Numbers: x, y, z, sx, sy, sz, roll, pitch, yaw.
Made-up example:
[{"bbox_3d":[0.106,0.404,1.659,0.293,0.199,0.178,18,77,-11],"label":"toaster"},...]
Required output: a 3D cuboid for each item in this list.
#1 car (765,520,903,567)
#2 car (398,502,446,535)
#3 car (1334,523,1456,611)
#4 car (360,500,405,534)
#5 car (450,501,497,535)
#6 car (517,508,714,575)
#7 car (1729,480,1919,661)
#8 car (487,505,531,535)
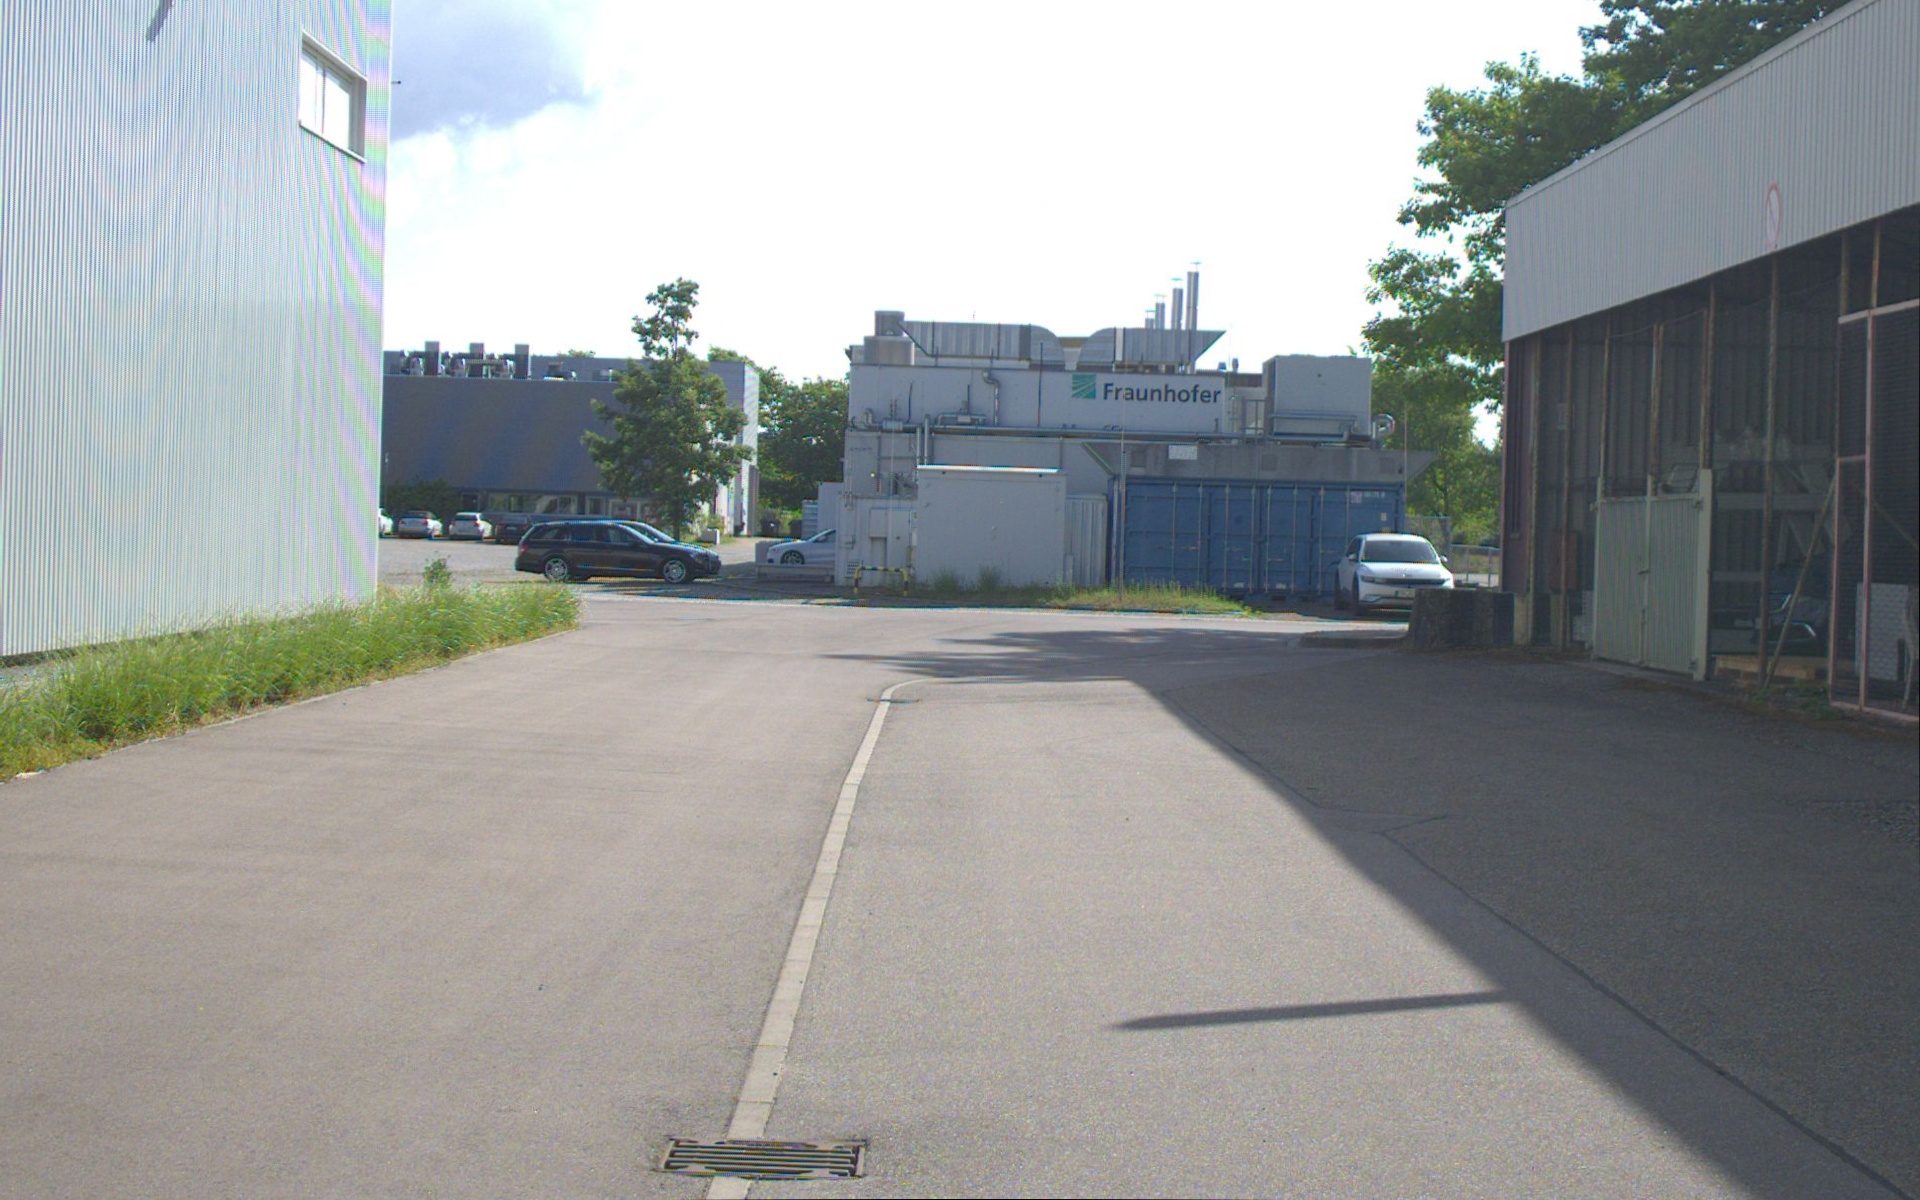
[{"bbox_3d":[-3.976,-1.777,108.878,4.302,1.452,1.824,0,1,0],"label":"car"},{"bbox_3d":[-27.793,-4.227,177.806,1.976,1.672,4.000,0,1,-2],"label":"car"},{"bbox_3d":[8.625,-0.679,68.478,1.979,1.597,4.377,0,2,1],"label":"car"},{"bbox_3d":[-29.920,-4.282,178.202,1.798,1.706,4.049,0,1,-2],"label":"car"},{"bbox_3d":[-25.201,-4.246,178.223,1.965,1.706,4.030,0,1,-2],"label":"car"},{"bbox_3d":[-8.095,-1.368,81.001,4.447,1.525,1.824,0,1,0],"label":"car"},{"bbox_3d":[11.173,-0.295,38.007,4.767,1.909,2.001,1,1,-8],"label":"car"},{"bbox_3d":[-23.122,-4.106,176.381,1.858,1.489,4.030,0,1,-2],"label":"car"}]
